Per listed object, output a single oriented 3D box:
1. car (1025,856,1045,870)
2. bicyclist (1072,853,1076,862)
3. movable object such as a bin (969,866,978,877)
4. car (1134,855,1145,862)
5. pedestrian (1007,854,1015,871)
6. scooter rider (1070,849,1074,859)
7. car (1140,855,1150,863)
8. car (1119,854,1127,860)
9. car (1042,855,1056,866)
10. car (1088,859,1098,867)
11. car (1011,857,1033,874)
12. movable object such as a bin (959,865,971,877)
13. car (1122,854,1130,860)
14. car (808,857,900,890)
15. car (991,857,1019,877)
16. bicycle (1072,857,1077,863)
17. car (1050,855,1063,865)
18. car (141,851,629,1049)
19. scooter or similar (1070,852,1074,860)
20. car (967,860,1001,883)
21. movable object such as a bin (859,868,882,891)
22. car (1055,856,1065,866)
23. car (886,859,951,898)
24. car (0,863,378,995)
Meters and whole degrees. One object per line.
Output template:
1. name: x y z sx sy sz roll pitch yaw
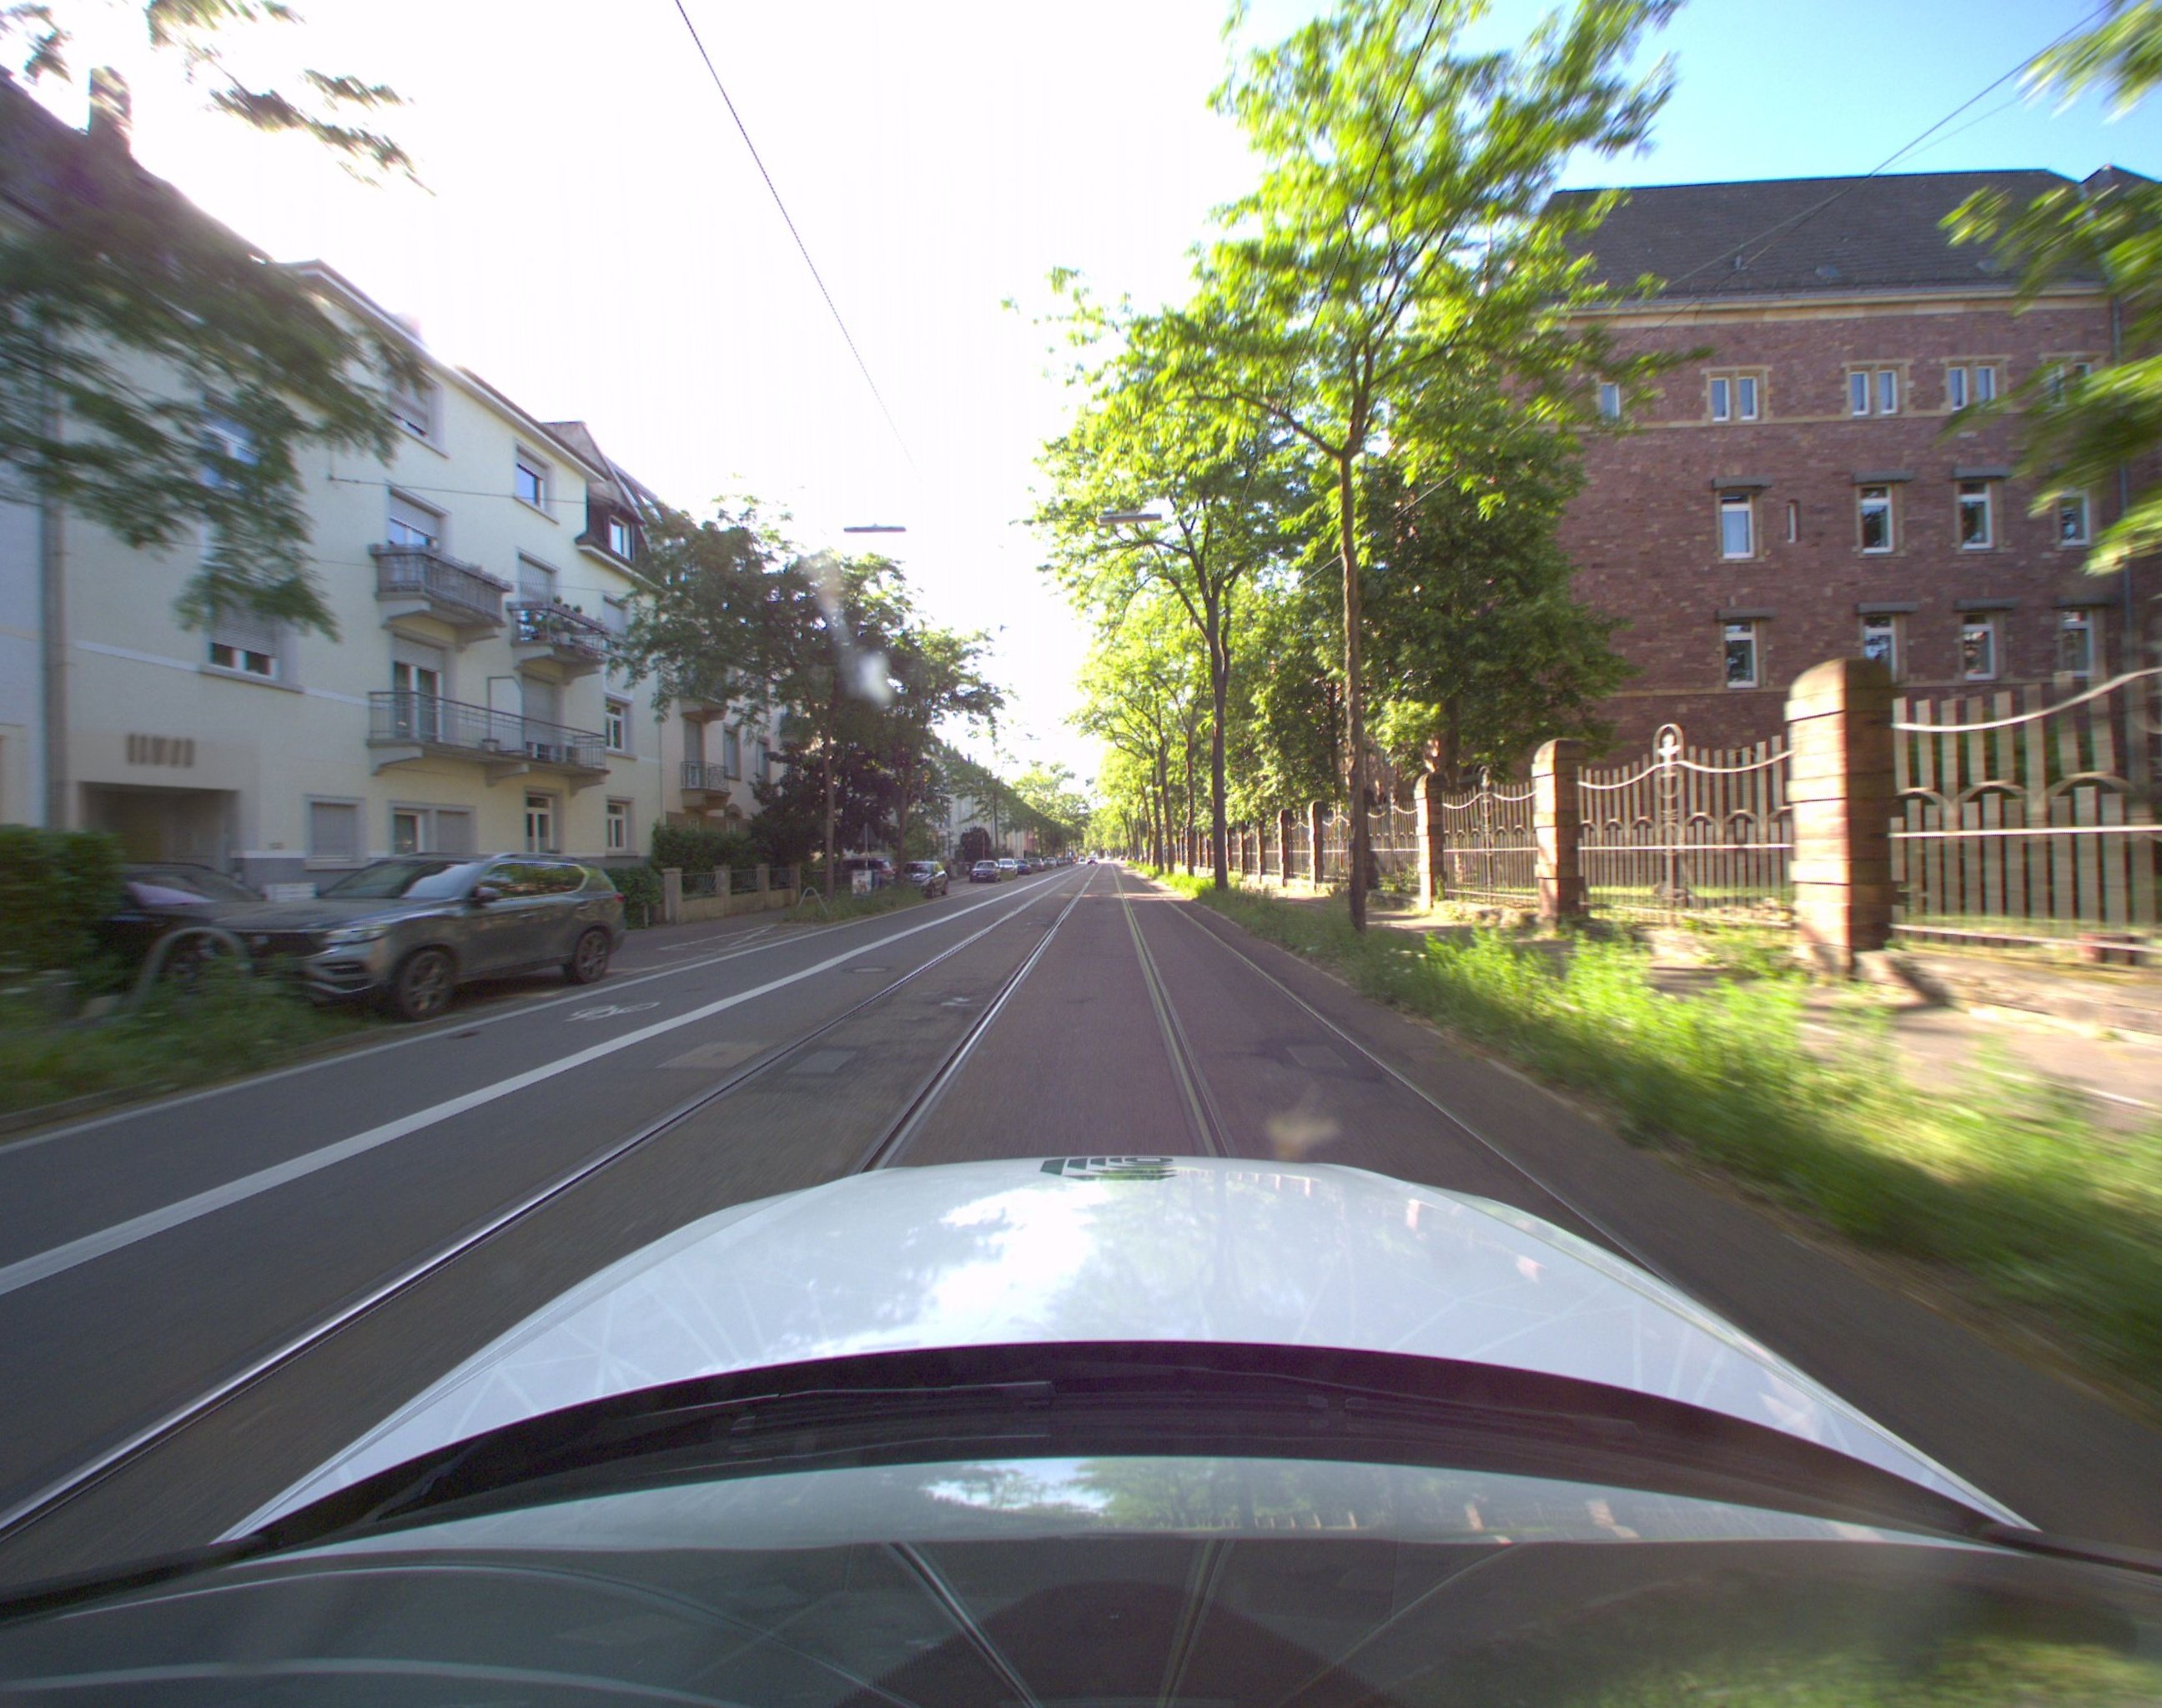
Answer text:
1. car: -5.016 0.980 89.550 1.810 1.485 4.208 0 0 2
2. bicyclist: -1.220 0.632 149.064 0.624 1.639 0.940 -4 0 2
3. movable object such as a bin: -9.271 1.508 70.312 0.557 0.975 0.733 0 0 5
4. car: 13.272 0.991 185.268 1.938 1.610 3.995 -2 0 -3
5. pedestrian: -7.532 0.925 87.468 0.689 1.801 0.813 -2 0 2
6. scooter rider: -1.566 -0.035 135.402 0.495 1.699 0.787 -5 0 2
7. car: 13.666 1.026 174.939 1.833 1.655 3.579 -2 0 0
8. car: 12.449 0.893 243.326 1.938 1.610 3.995 -2 0 -3
9. car: -4.544 0.890 115.849 1.696 1.485 4.080 1 0 2
10. car: 2.222 1.652 150.104 1.752 1.439 4.524 -1 0 1
11. car: -5.510 1.066 76.544 1.752 1.511 4.439 0 0 1
12. movable object such as a bin: -9.992 1.459 70.267 0.841 1.046 0.733 0 0 4
13. car: 12.666 0.751 230.138 1.939 1.610 3.995 -2 0 -4
14. car: -11.697 0.988 42.130 4.152 1.659 1.983 -1 0 0
15. car: -6.134 1.005 66.233 1.811 1.511 4.371 0 0 1
16. bicycle: -1.189 1.074 149.165 0.624 1.177 1.914 -4 0 2
17. car: -3.730 0.934 124.002 1.681 1.485 3.760 1 0 1
18. car: -7.825 0.891 9.994 1.864 1.823 4.771 -1 0 0
19. scooter or similar: -1.544 0.395 135.372 0.518 1.297 1.378 -5 0 2
20. car: -6.449 1.154 54.608 1.699 1.406 4.334 0 0 1
21. movable object such as a bin: -10.227 1.255 39.560 0.872 1.066 0.814 -2 0 2
22. car: -3.478 1.137 133.853 1.555 1.457 3.930 1 0 0
23. car: -7.038 1.033 35.647 1.770 1.541 4.487 0 0 2
24. car: -12.832 0.975 11.441 4.282 1.661 1.954 0 0 3
